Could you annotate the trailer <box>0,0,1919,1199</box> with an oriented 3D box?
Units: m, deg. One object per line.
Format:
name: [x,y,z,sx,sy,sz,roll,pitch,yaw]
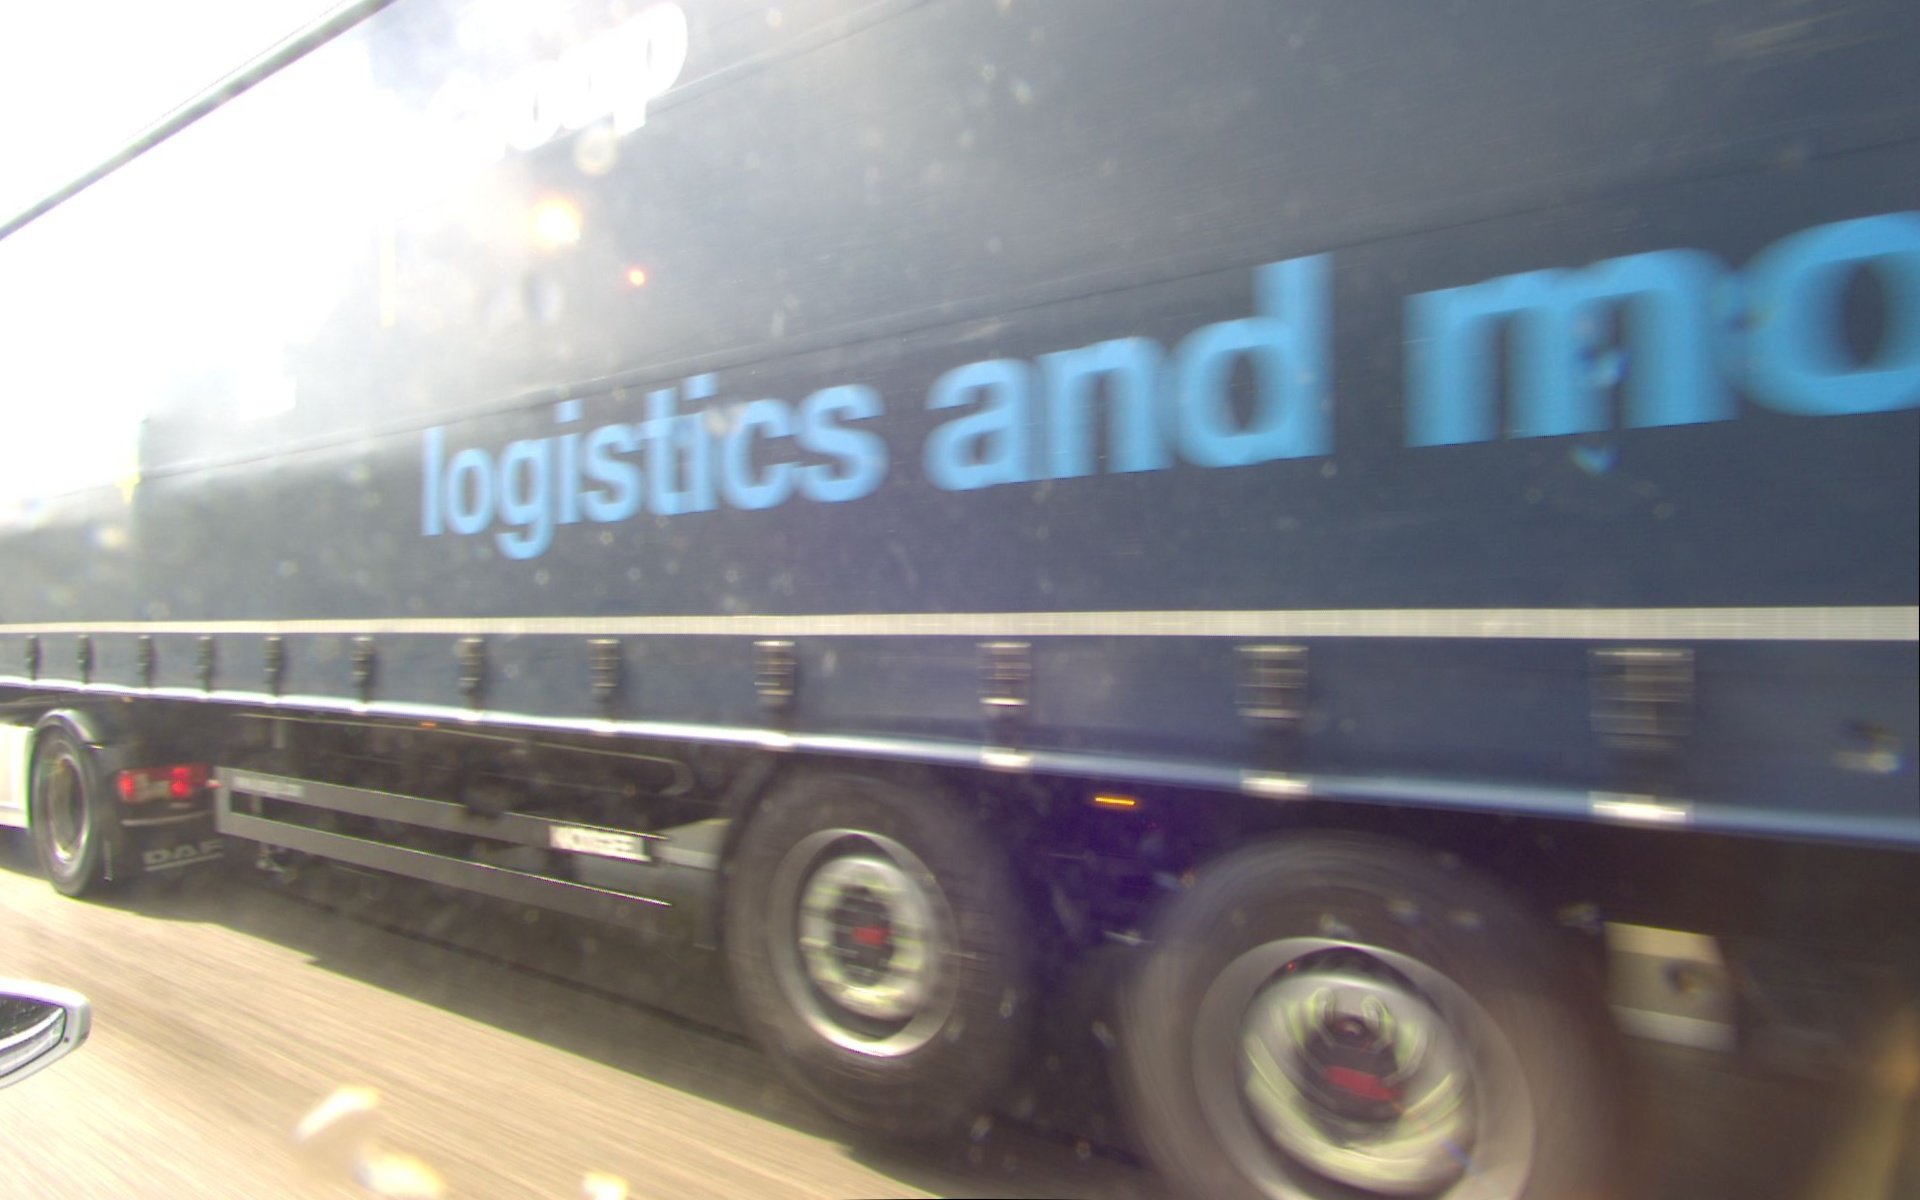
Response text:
trailer: [-1.016,-0.475,4.504,13.866,4.046,2.630,-1,-2,33]

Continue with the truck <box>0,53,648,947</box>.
truck: [-5.806,-0.349,7.575,7.187,4.046,2.602,-1,-2,33]
